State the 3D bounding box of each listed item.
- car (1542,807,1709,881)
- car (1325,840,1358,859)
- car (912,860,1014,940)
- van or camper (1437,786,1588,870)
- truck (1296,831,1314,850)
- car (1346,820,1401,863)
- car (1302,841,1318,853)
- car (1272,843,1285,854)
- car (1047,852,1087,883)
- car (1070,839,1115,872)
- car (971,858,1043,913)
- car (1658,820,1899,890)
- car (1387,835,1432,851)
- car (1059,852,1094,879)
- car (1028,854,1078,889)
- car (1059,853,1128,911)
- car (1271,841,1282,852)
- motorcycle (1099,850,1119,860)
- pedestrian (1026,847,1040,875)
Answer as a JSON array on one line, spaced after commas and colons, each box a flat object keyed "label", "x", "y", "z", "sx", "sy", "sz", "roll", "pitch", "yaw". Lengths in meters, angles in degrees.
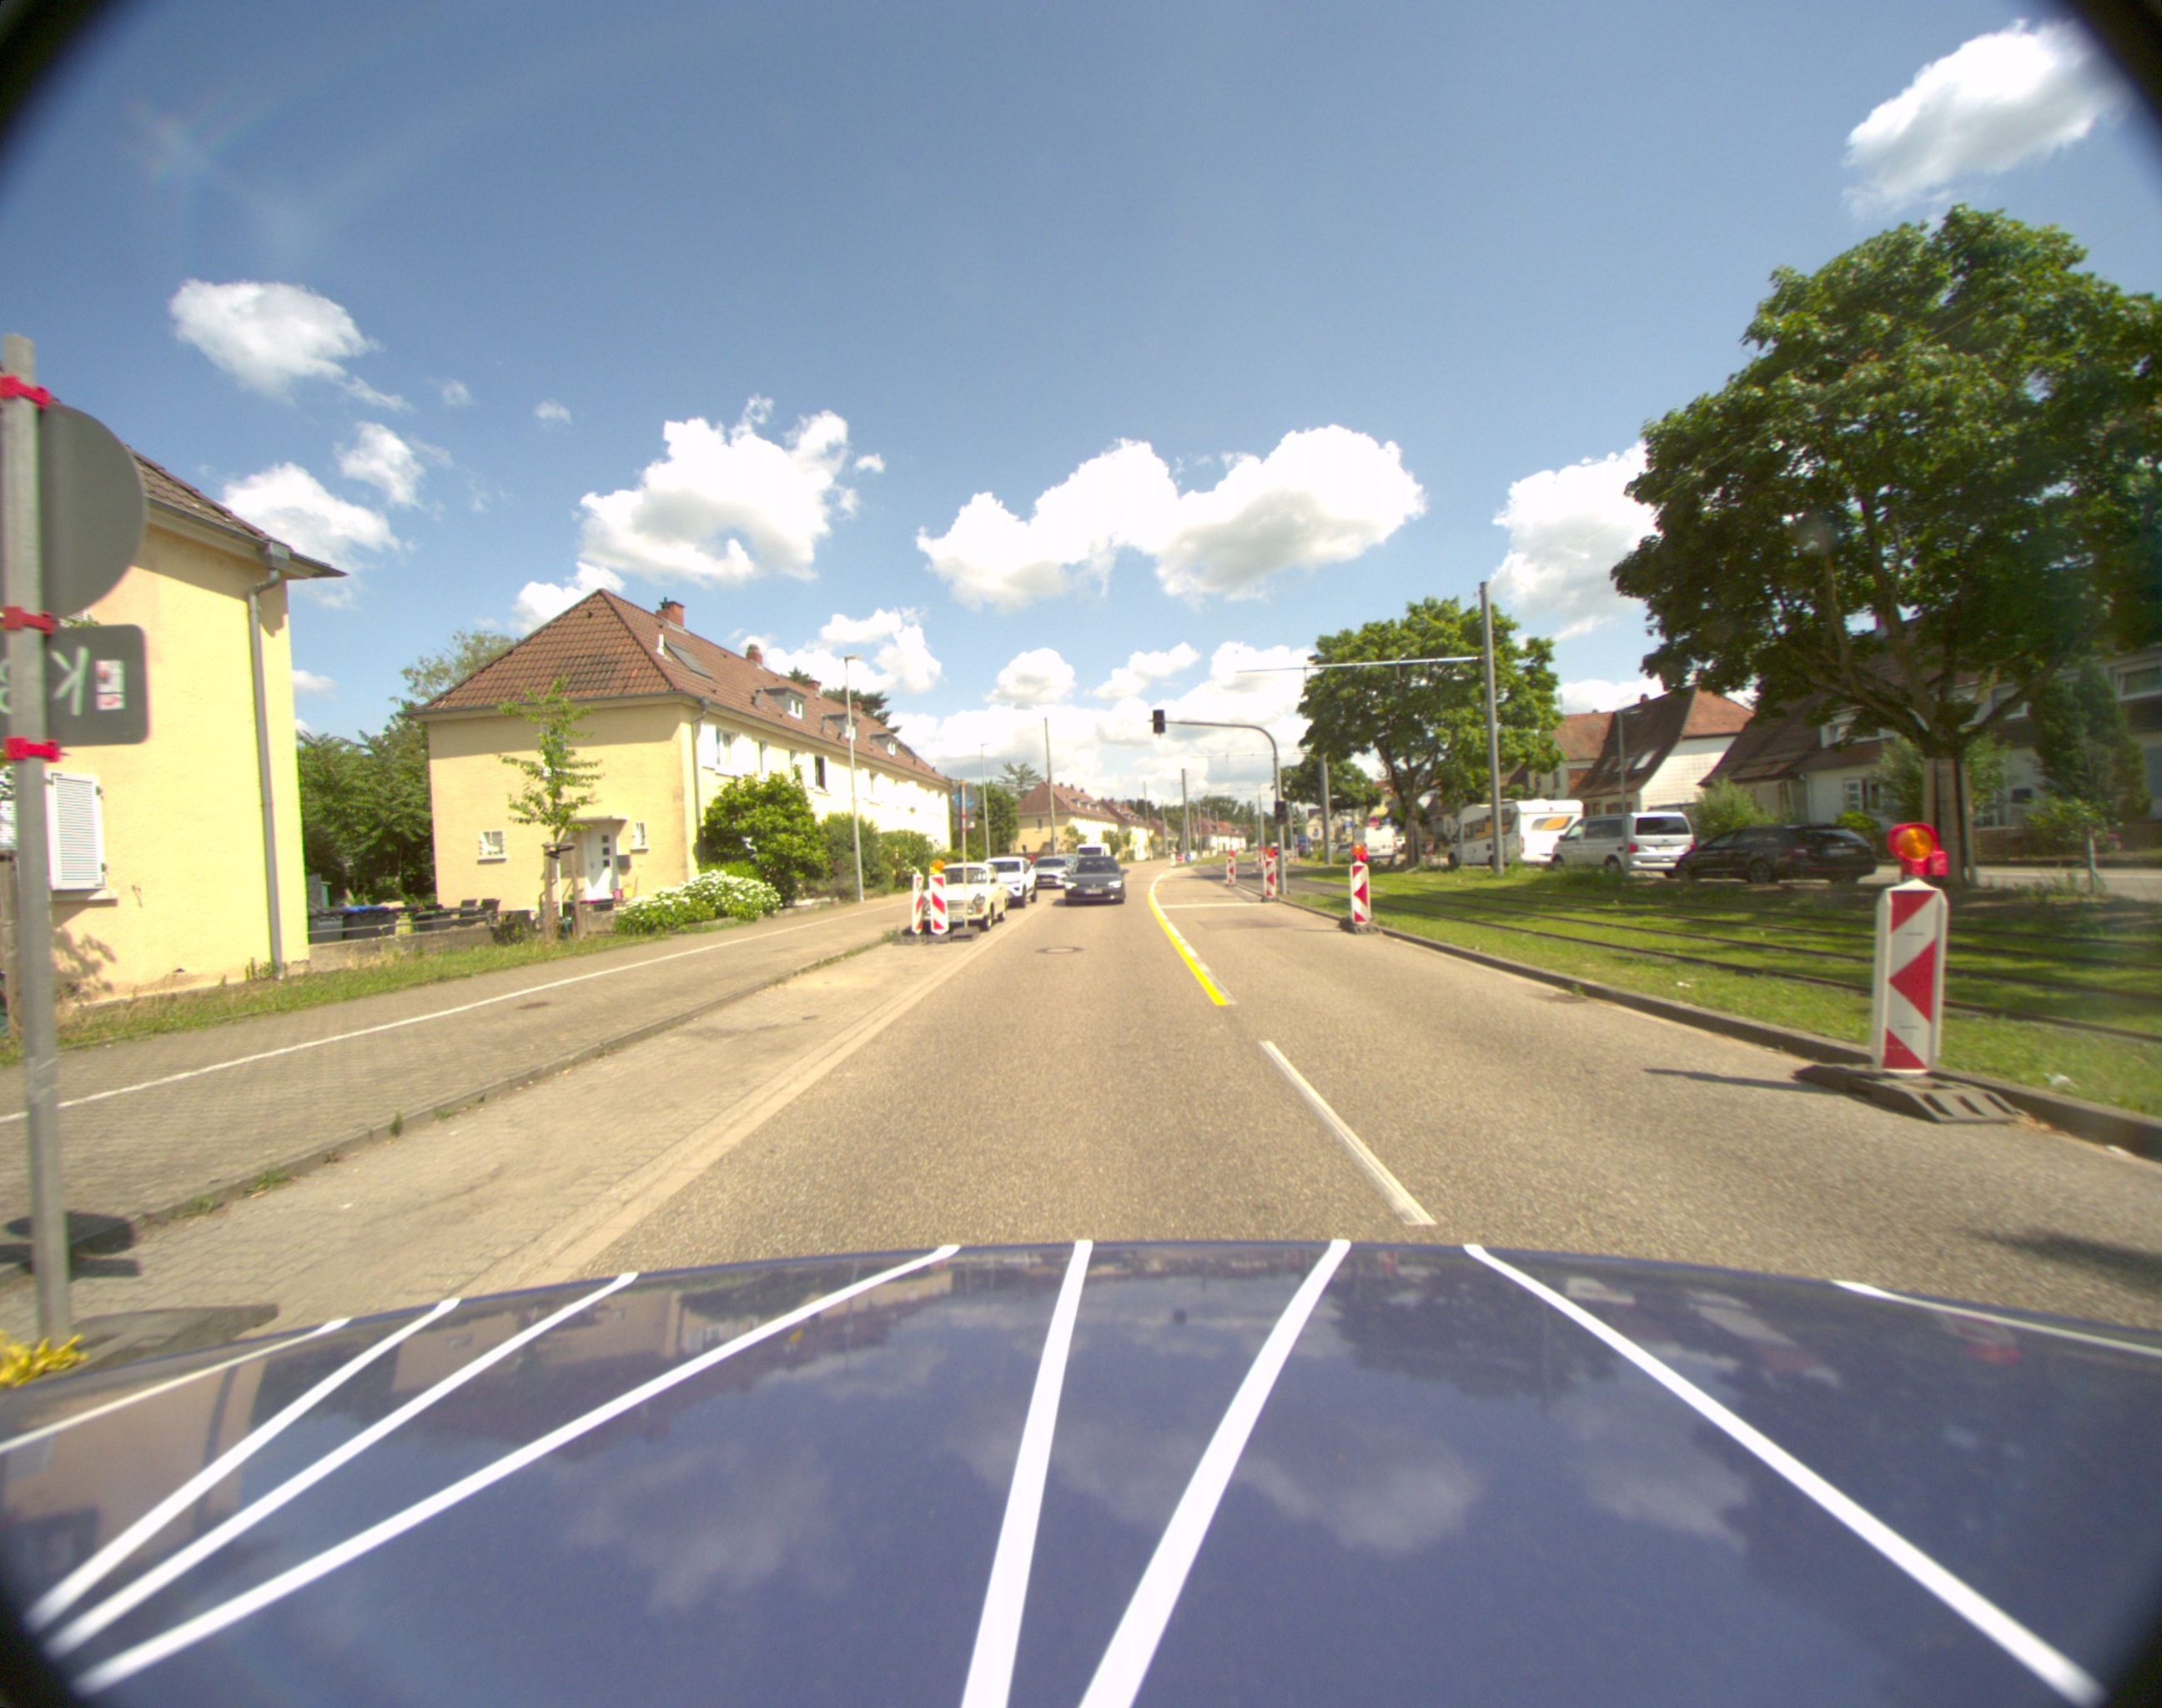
[{"label": "car", "x": 17.004, "y": -0.294, "z": 24.115, "sx": 1.998, "sy": 2.002, "sz": 4.905, "roll": -3, "pitch": 0, "yaw": 4}, {"label": "car", "x": 21.113, "y": -0.370, "z": 61.822, "sx": 1.695, "sy": 1.456, "sz": 4.758, "roll": -3, "pitch": 0, "yaw": 9}, {"label": "car", "x": -2.529, "y": 0.944, "z": 17.182, "sx": 1.466, "sy": 1.493, "sz": 4.109, "roll": -2, "pitch": 0, "yaw": 2}, {"label": "van or camper", "x": 17.315, "y": -0.965, "z": 31.113, "sx": 2.381, "sy": 2.953, "sz": 7.298, "roll": -2, "pitch": 0, "yaw": 4}, {"label": "truck", "x": 39.788, "y": -2.319, "z": 134.852, "sx": 2.839, "sy": 3.135, "sz": 7.942, "roll": -3, "pitch": 0, "yaw": 16}, {"label": "car", "x": 19.522, "y": -0.805, "z": 50.949, "sx": 2.157, "sy": 2.653, "sz": 4.918, "roll": -3, "pitch": 0, "yaw": 7}, {"label": "car", "x": 30.275, "y": -0.967, "z": 100.499, "sx": 1.727, "sy": 1.518, "sz": 4.776, "roll": -3, "pitch": 0, "yaw": 19}, {"label": "car", "x": 29.292, "y": -0.794, "z": 112.537, "sx": 1.728, "sy": 1.553, "sz": 4.546, "roll": -3, "pitch": 0, "yaw": 14}, {"label": "car", "x": -0.725, "y": 0.685, "z": 41.318, "sx": 1.631, "sy": 1.541, "sz": 3.811, "roll": -2, "pitch": 0, "yaw": 6}, {"label": "car", "x": 0.921, "y": 0.073, "z": 55.532, "sx": 2.281, "sy": 2.170, "sz": 6.372, "roll": -2, "pitch": 0, "yaw": 9}, {"label": "car", "x": -2.205, "y": 0.913, "z": 23.569, "sx": 1.531, "sy": 1.472, "sz": 3.810, "roll": -2, "pitch": 0, "yaw": 5}, {"label": "car", "x": 16.420, "y": 0.000, "z": 18.311, "sx": 1.856, "sy": 1.379, "sz": 4.811, "roll": -3, "pitch": 0, "yaw": 8}, {"label": "car", "x": 35.039, "y": -1.163, "z": 81.094, "sx": 3.958, "sy": 1.535, "sz": 1.761, "roll": -3, "pitch": 0, "yaw": 5}, {"label": "car", "x": -0.222, "y": 0.687, "z": 46.275, "sx": 1.711, "sy": 1.495, "sz": 4.256, "roll": -2, "pitch": 0, "yaw": 5}, {"label": "car", "x": -1.215, "y": 0.752, "z": 34.886, "sx": 1.753, "sy": 1.489, "sz": 4.387, "roll": -2, "pitch": 0, "yaw": 5}, {"label": "car", "x": 0.485, "y": 0.779, "z": 23.182, "sx": 1.742, "sy": 1.513, "sz": 4.703, "roll": -1, "pitch": 1, "yaw": 5}, {"label": "car", "x": 34.224, "y": -1.331, "z": 132.893, "sx": 1.728, "sy": 1.843, "sz": 4.546, "roll": -3, "pitch": 0, "yaw": 13}, {"label": "motorcycle", "x": 3.488, "y": 0.132, "z": 93.766, "sx": 2.231, "sy": 1.190, "sz": 0.855, "roll": -3, "pitch": 1, "yaw": 14}, {"label": "pedestrian", "x": -3.481, "y": 0.500, "z": 54.696, "sx": 0.774, "sy": 2.002, "sz": 0.762, "roll": -3, "pitch": 1, "yaw": 7}]
